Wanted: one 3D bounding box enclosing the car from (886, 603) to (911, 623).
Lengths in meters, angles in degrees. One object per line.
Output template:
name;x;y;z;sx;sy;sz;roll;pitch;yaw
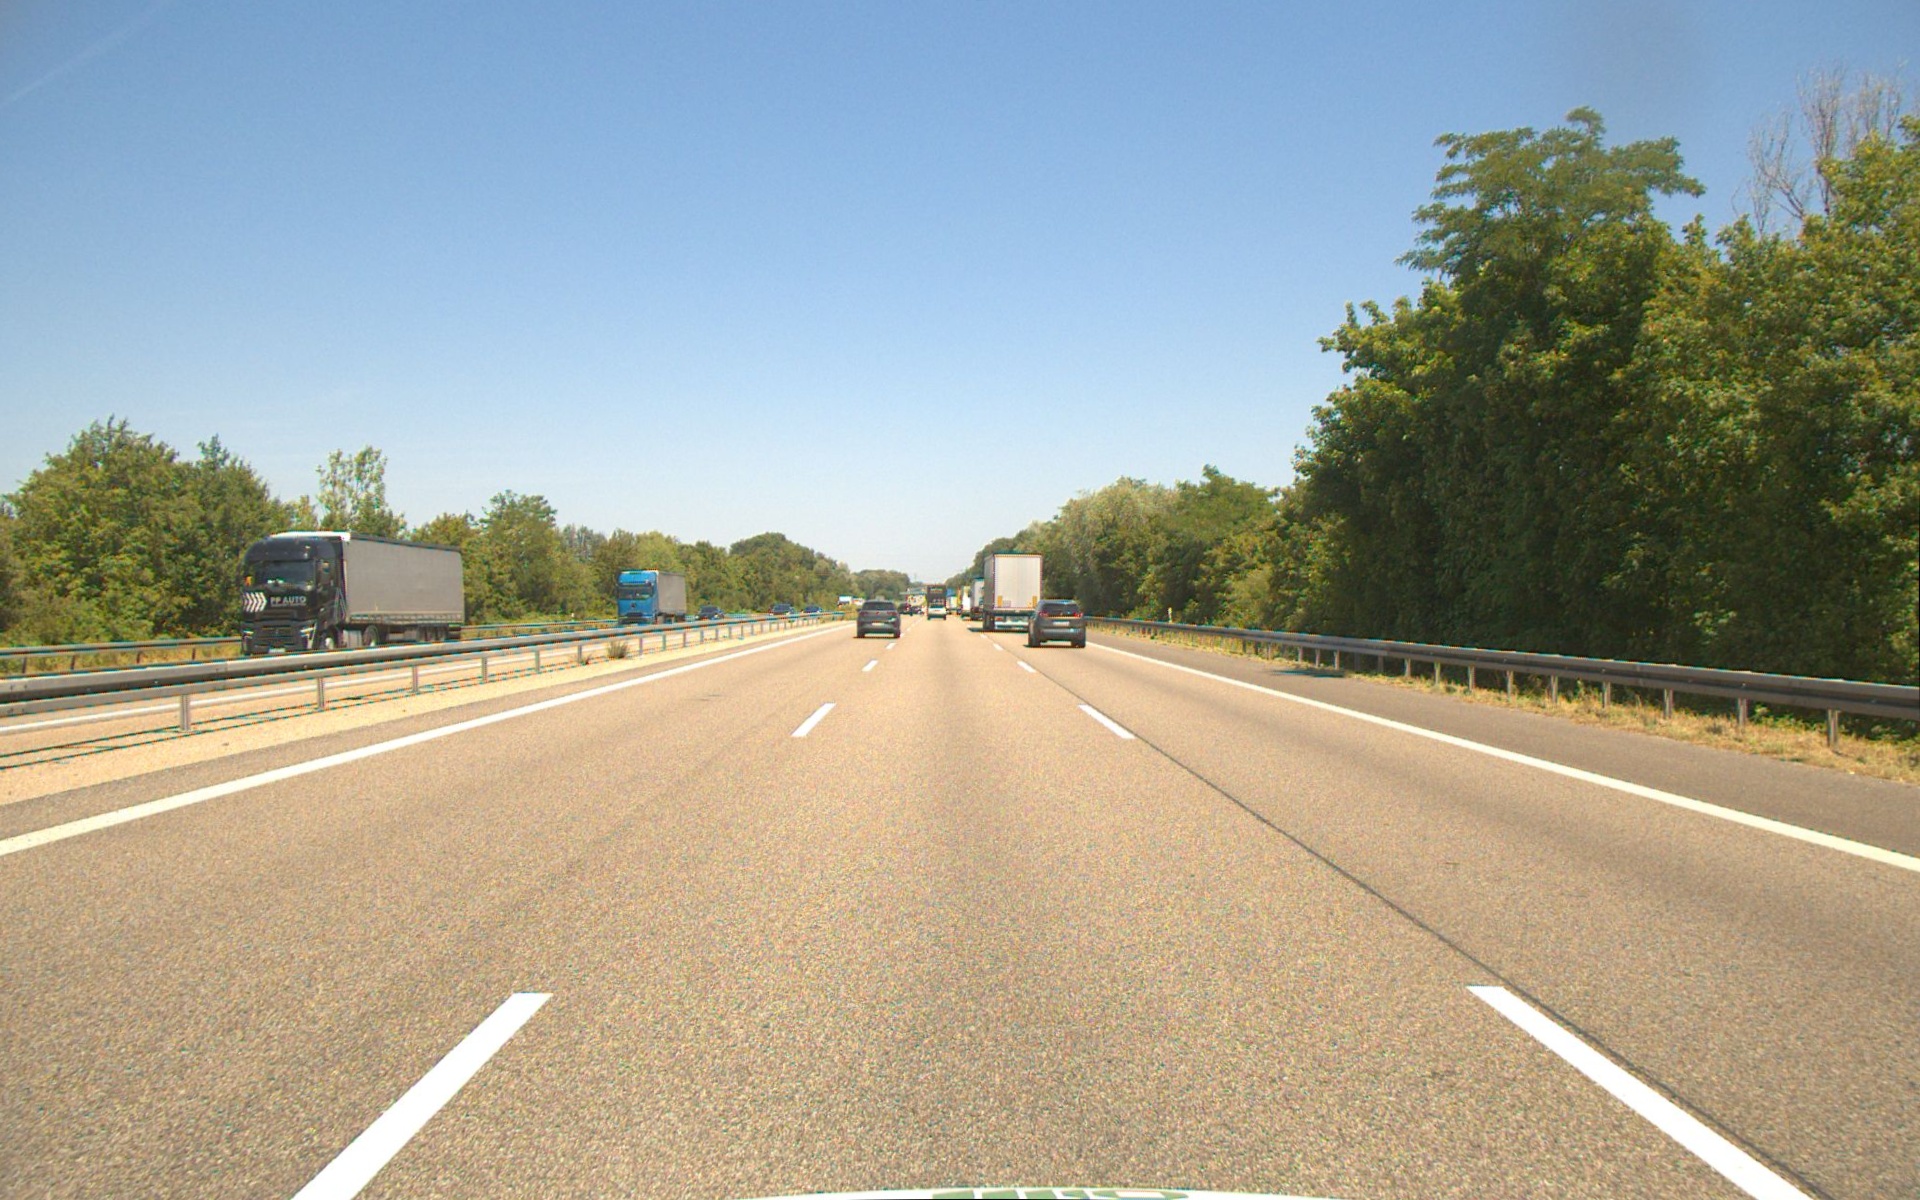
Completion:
car;-4.942;1.034;133.892;1.862;1.557;4.083;1;1;-1

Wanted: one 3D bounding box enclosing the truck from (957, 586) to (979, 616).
truck;1.014;0.046;215.698;2.735;3.791;7.108;1;0;0

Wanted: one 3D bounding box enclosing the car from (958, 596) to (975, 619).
car;0.716;0.846;191.173;1.869;2.467;4.285;1;1;-1

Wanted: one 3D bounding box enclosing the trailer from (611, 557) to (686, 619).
trailer;-22.846;-0.879;122.037;3.230;4.259;13.538;-1;1;-1

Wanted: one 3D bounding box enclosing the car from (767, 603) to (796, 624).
car;-14.263;1.065;132.636;1.813;1.488;5.168;-3;0;-2

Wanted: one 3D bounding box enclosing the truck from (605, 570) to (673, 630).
truck;-22.621;-0.042;117.031;3.186;4.056;8.726;0;0;-1

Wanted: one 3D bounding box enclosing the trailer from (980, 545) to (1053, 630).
trailer;2.927;-0.606;90.698;3.364;4.254;13.630;1;0;-1

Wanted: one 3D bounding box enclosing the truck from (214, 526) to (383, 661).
truck;-21.579;-0.233;54.340;3.132;4.201;6.193;0;0;-1

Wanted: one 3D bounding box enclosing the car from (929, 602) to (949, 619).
car;-1.936;0.964;154.477;1.862;1.557;4.083;1;1;-1

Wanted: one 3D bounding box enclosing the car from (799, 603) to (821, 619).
car;-14.844;1.099;163.876;1.813;1.419;4.740;-3;0;-2

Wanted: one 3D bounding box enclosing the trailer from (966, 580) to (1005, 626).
trailer;2.270;0.228;150.687;3.059;3.995;9.933;1;1;-2

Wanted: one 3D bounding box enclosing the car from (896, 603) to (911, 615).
car;-7.373;1.159;216.443;1.869;1.557;4.285;1;1;-1

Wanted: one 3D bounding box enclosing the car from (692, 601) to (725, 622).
car;-18.499;0.843;121.807;1.812;1.488;4.313;3;0;-1

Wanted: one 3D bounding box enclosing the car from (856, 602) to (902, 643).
car;-3.347;0.903;68.862;1.723;1.557;4.285;1;1;-1

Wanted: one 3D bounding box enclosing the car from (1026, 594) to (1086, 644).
car;3.328;0.640;57.925;1.807;1.657;4.134;0;0;0

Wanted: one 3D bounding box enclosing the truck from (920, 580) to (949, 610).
truck;-3.368;-0.730;216.789;3.592;3.791;7.108;1;0;0

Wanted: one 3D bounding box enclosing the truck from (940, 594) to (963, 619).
truck;-1.275;0.980;258.388;3.417;3.791;7.108;1;0;0

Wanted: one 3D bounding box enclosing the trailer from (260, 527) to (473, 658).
trailer;-21.708;-0.314;61.702;3.281;4.259;13.538;-1;1;-1
